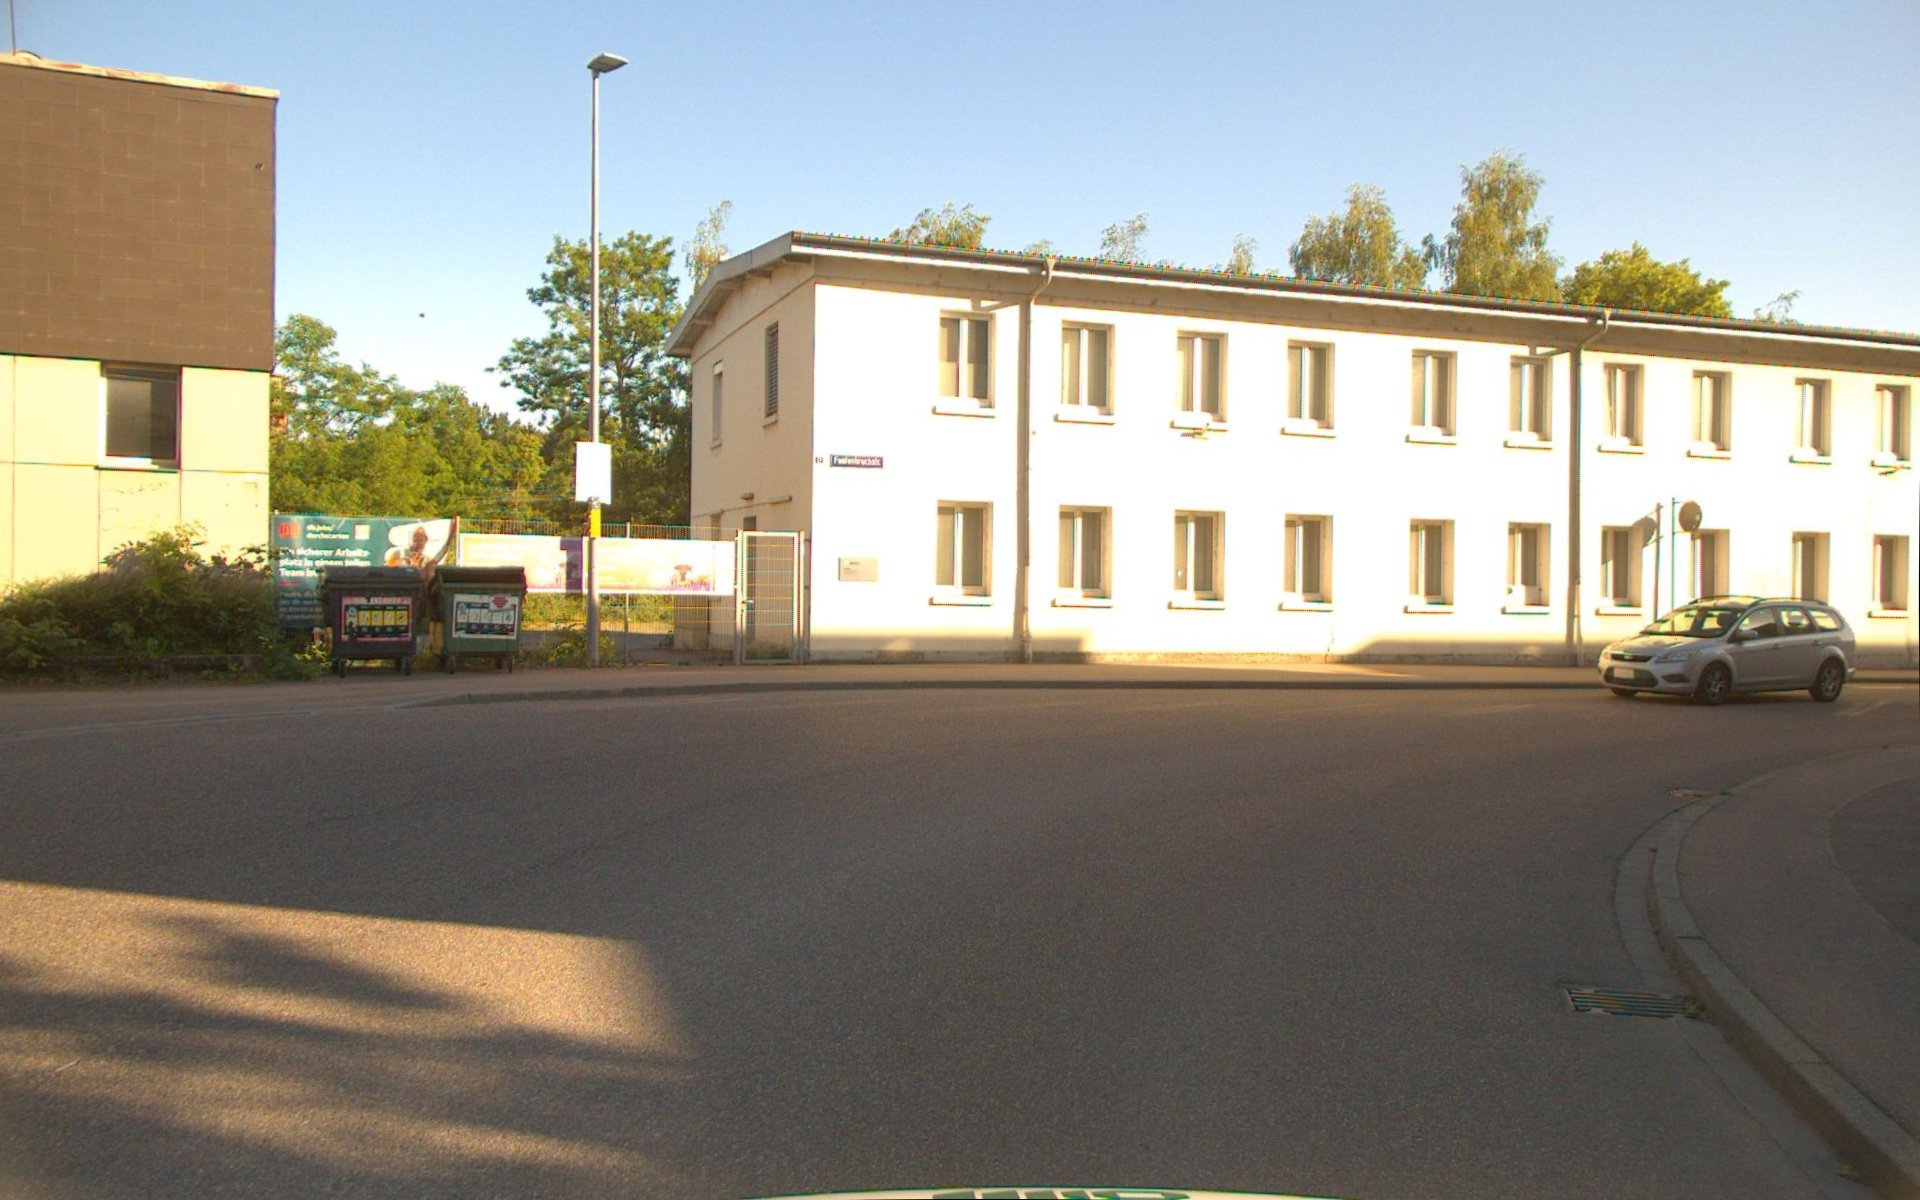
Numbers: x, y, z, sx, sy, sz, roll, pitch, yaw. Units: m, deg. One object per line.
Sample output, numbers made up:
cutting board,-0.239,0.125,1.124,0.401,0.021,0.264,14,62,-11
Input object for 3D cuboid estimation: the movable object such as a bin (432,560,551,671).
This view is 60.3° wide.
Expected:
movable object such as a bin,-6.606,0.197,23.299,1.354,1.497,1.190,0,1,-31

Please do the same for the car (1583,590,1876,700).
car,11.729,0.653,25.164,4.435,1.531,1.729,1,1,-28

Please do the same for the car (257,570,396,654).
car,-13.320,0.198,34.631,1.975,1.646,3.955,0,1,-33

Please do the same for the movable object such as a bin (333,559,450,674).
movable object such as a bin,-7.765,0.202,22.574,1.272,1.497,1.350,0,1,-31
